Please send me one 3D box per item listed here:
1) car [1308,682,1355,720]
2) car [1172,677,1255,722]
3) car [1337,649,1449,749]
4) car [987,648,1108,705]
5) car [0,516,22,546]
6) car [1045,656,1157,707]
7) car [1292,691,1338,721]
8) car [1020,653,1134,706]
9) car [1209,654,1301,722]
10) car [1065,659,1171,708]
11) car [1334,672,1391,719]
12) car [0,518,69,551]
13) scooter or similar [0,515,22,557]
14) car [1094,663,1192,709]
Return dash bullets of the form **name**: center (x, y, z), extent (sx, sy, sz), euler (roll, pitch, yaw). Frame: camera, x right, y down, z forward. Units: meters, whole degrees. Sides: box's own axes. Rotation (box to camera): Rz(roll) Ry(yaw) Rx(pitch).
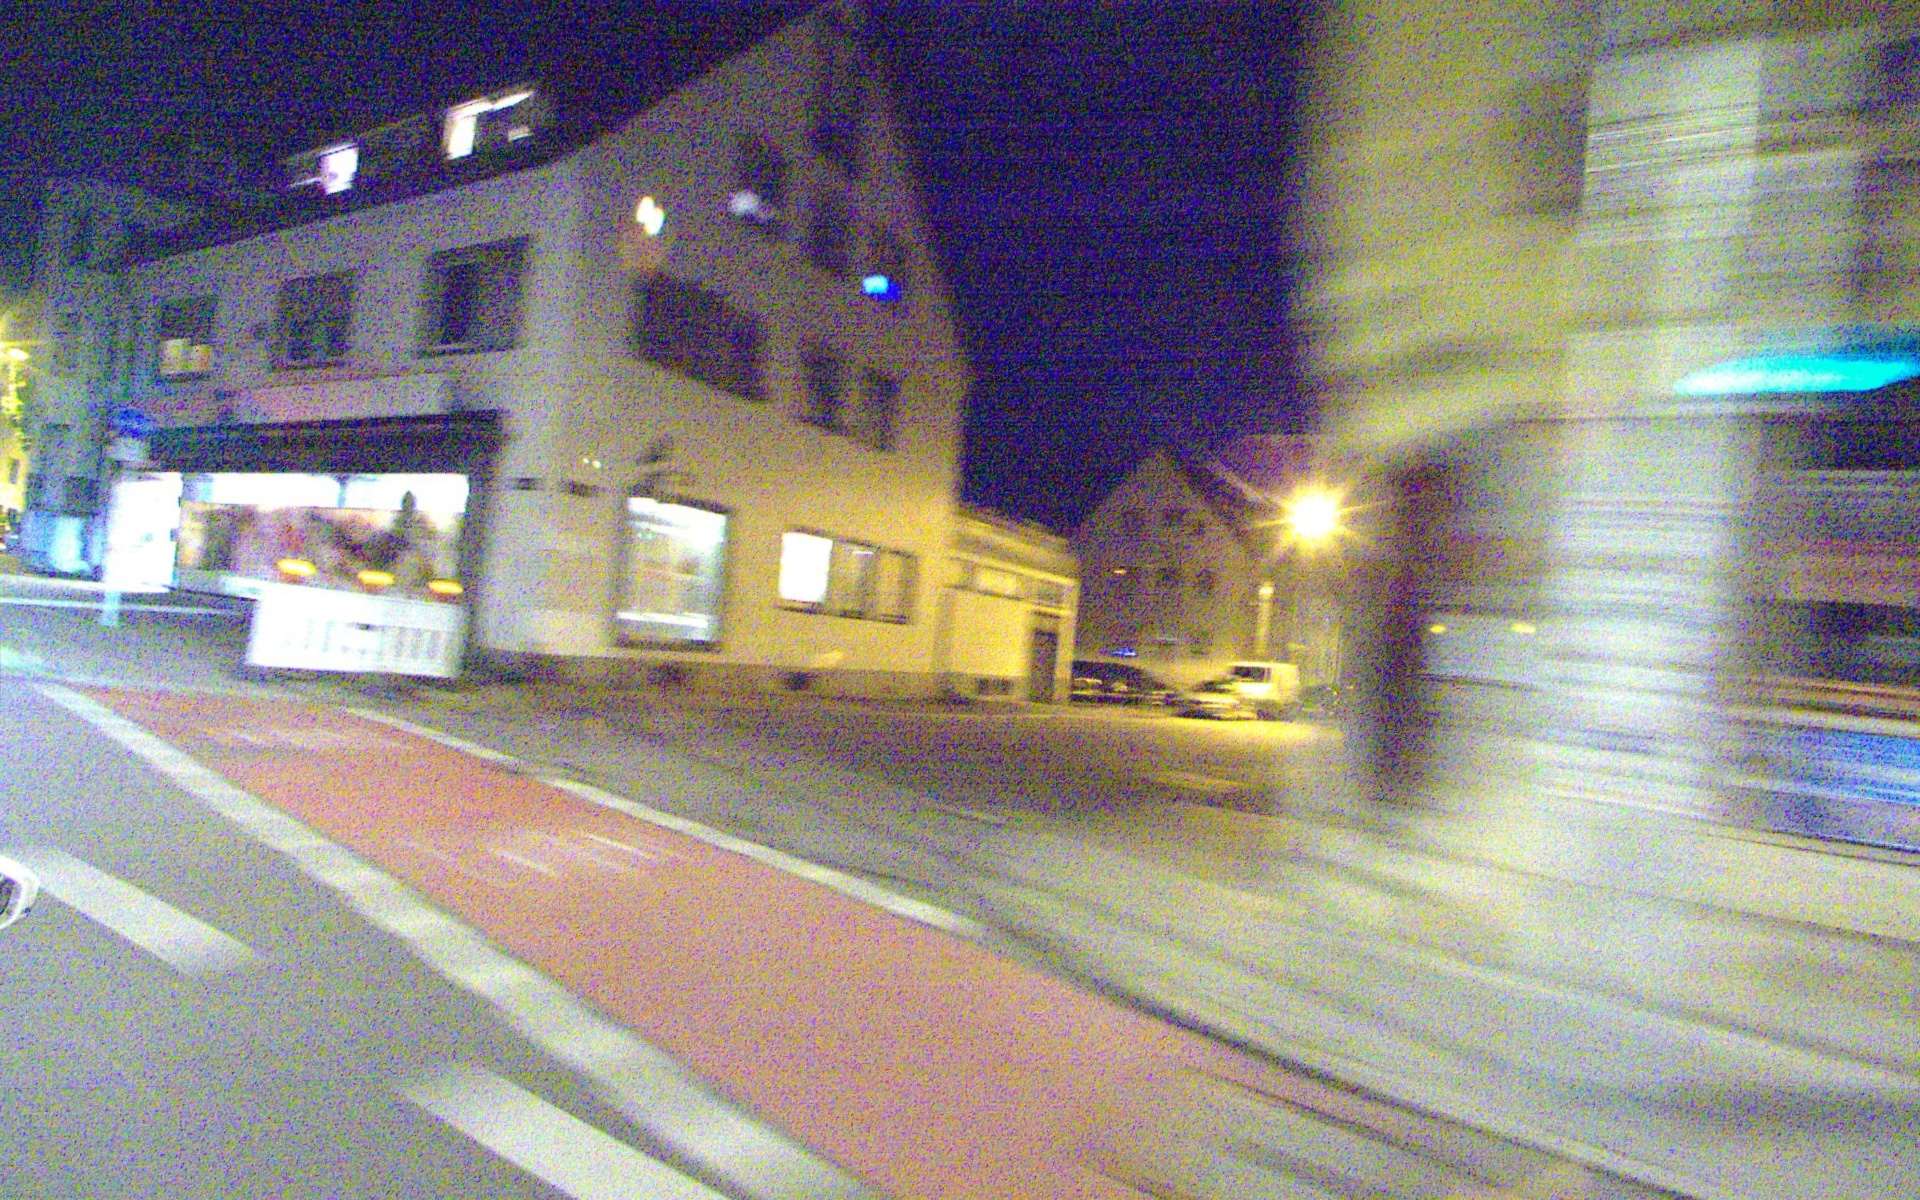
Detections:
- **car**: center (19.543, 5.314, 52.821), extent (1.605, 1.767, 3.936), euler (3, -5, 30)
- **car**: center (8.687, 3.414, 34.213), extent (1.673, 1.271, 3.998), euler (3, -5, 30)
- **car**: center (13.927, 3.211, 32.078), extent (2.280, 2.622, 6.336), euler (7, -3, 31)
- **car**: center (3.110, 2.726, 35.902), extent (3.894, 1.469, 1.593), euler (6, -3, 35)
- **car**: center (-49.103, -3.624, 50.353), extent (1.779, 1.433, 3.820), euler (9, -3, -22)
- **car**: center (5.626, 3.246, 40.237), extent (3.894, 1.469, 1.873), euler (6, -3, 35)
- **car**: center (17.522, 5.228, 49.582), extent (1.520, 1.271, 3.247), euler (3, -5, 30)
- **car**: center (4.419, 3.000, 38.127), extent (3.894, 1.469, 1.570), euler (6, -3, 35)
- **car**: center (11.678, 3.500, 39.475), extent (2.093, 2.296, 5.476), euler (3, -5, 30)
- **car**: center (6.697, 3.543, 42.765), extent (3.895, 1.469, 1.823), euler (6, -3, 35)
- **car**: center (25.060, 5.983, 62.440), extent (2.243, 2.544, 6.686), euler (3, -5, 30)
- **car**: center (-51.047, -3.578, 55.273), extent (1.752, 1.356, 3.902), euler (9, -3, -22)
- **scooter or similar**: center (-27.330, -1.839, 28.730), extent (0.495, 1.160, 1.651), euler (5, 0, -35)
- **car**: center (8.112, 3.809, 44.596), extent (3.796, 1.469, 1.673), euler (6, -3, 35)
